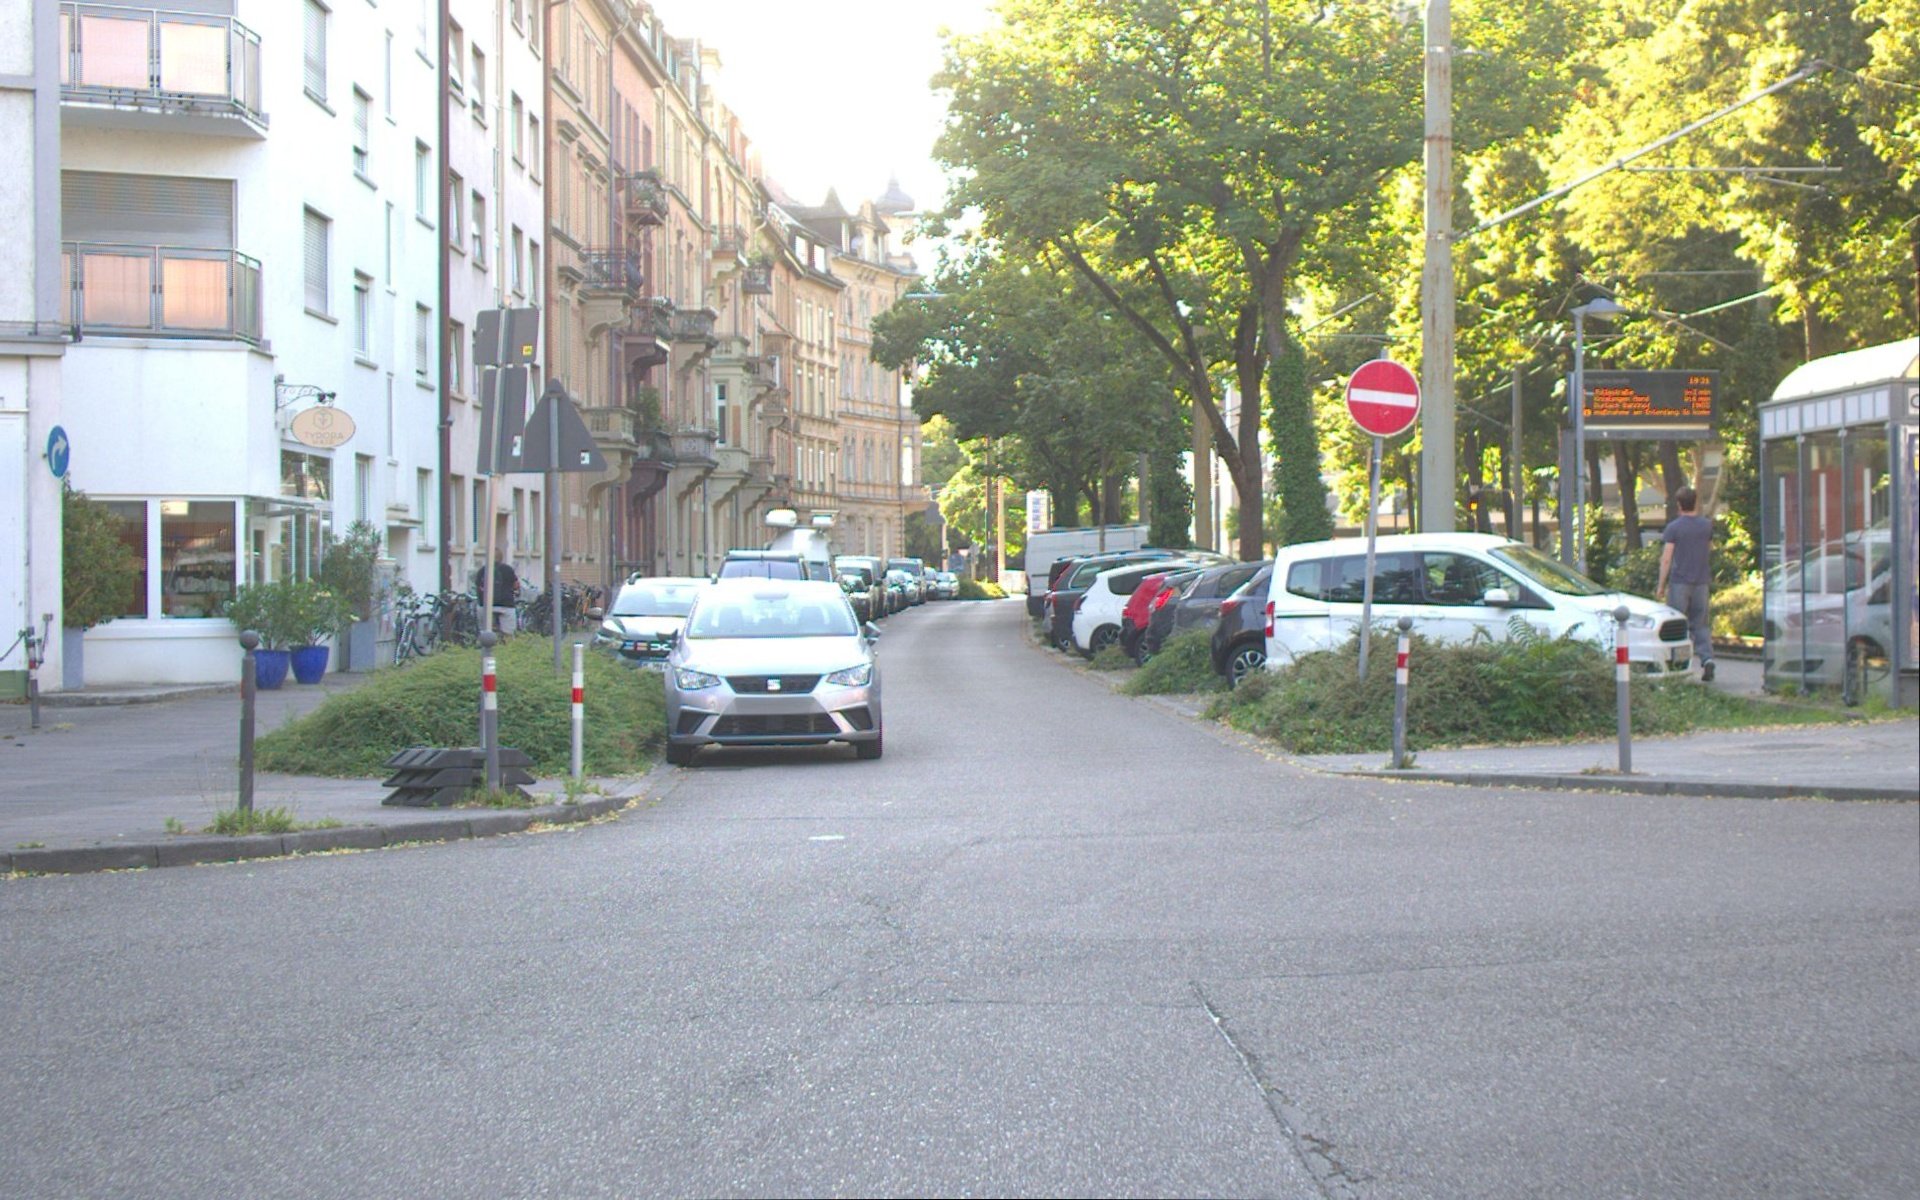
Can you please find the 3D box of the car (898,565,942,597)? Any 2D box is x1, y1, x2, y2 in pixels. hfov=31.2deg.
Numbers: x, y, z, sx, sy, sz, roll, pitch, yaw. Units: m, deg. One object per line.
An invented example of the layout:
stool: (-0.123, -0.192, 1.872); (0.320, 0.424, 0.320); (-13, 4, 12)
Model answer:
car: (-1.884, -0.909, 163.710); (1.711, 1.441, 4.000); (-2, 1, 4)

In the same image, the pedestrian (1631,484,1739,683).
pedestrian: (7.063, -0.161, 33.475); (0.849, 1.904, 0.837); (-1, 1, 24)

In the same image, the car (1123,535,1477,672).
car: (4.448, 0.052, 45.063); (4.232, 1.454, 1.606); (-4, 0, 24)

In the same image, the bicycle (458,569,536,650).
bicycle: (-6.242, 0.112, 46.418); (0.712, 1.047, 2.348); (-1, 1, 0)

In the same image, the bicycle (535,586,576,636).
bicycle: (-8.460, 0.216, 71.976); (0.626, 1.000, 2.176); (0, 1, -1)

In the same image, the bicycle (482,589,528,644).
bicycle: (-8.608, 0.300, 65.098); (0.626, 1.000, 2.176); (0, 1, -1)

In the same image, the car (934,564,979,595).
car: (-0.157, -1.049, 173.991); (1.711, 1.441, 3.999); (-2, 1, 8)

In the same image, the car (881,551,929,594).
car: (-2.446, -1.240, 153.699); (1.711, 1.814, 4.000); (-2, 1, 4)

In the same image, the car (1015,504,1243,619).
car: (4.384, -0.998, 89.343); (5.259, 2.563, 2.270); (-4, 0, 28)

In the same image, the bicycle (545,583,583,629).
bicycle: (-8.911, 0.135, 77.358); (0.626, 1.000, 2.176); (0, 1, -1)

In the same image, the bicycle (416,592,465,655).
bicycle: (-8.696, 0.378, 57.588); (0.531, 1.000, 2.176); (0, 1, -1)

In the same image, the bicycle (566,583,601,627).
bicycle: (-8.818, 0.106, 80.566); (0.626, 1.000, 2.176); (0, 1, -1)

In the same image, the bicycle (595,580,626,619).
bicycle: (-9.158, -0.020, 90.139); (0.626, 1.000, 2.176); (0, 1, -1)

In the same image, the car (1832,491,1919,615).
car: (20.370, -0.903, 70.360); (4.493, 2.468, 1.816); (2, 0, 31)

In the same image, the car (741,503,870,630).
car: (-3.661, -0.826, 82.738); (2.552, 2.877, 5.481); (-2, 1, 2)

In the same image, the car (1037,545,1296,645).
car: (3.749, -0.097, 62.560); (4.233, 1.468, 1.855); (-4, 0, 28)

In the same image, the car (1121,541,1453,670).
car: (4.549, 0.075, 47.904); (4.232, 1.454, 1.606); (-4, 0, 24)

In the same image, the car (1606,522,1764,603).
car: (21.214, -1.098, 100.655); (4.086, 2.202, 1.816); (2, 0, 31)

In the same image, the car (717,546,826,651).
car: (-3.662, -0.056, 67.318); (1.711, 1.926, 4.000); (-2, 1, 2)

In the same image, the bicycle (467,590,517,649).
bicycle: (-8.371, 0.340, 61.561); (0.626, 1.000, 2.176); (0, 1, -1)

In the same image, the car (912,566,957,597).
car: (-1.225, -0.924, 169.100); (1.711, 1.441, 3.999); (-2, 1, 6)

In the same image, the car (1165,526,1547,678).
car: (4.810, 0.022, 41.789); (4.232, 1.502, 1.606); (-4, 0, 24)

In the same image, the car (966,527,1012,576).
car: (1.573, -2.605, 183.870); (1.711, 2.553, 5.565); (-2, 1, 8)

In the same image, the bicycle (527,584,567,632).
bicycle: (-9.001, 0.167, 74.961); (0.626, 1.000, 2.176); (0, 1, -1)

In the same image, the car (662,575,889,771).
car: (-1.589, 0.549, 28.582); (1.710, 1.441, 4.001); (-2, 1, -5)

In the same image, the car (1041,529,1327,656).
car: (3.654, -0.111, 56.403); (4.236, 1.743, 1.854); (-4, 0, 36)

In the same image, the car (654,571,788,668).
car: (-3.887, 0.291, 56.400); (1.711, 1.441, 4.000); (-2, 1, 2)

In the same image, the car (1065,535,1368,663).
car: (3.960, -0.008, 53.375); (4.236, 1.645, 1.854); (-4, 0, 36)

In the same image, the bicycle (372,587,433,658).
bicycle: (-8.259, 0.322, 50.996); (0.531, 1.000, 2.176); (0, 1, 0)

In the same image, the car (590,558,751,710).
car: (-3.423, 0.364, 41.207); (1.710, 1.667, 4.001); (-2, 1, -2)

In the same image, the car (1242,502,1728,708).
car: (5.025, 0.061, 33.097); (4.234, 1.647, 1.605); (-4, 0, 31)

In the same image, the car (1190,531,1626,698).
car: (4.756, 0.152, 36.569); (4.197, 1.432, 1.699); (-4, 0, 25)

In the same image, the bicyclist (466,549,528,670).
bicyclist: (-6.244, 0.128, 46.376); (0.712, 1.611, 0.723); (-1, 1, 0)
